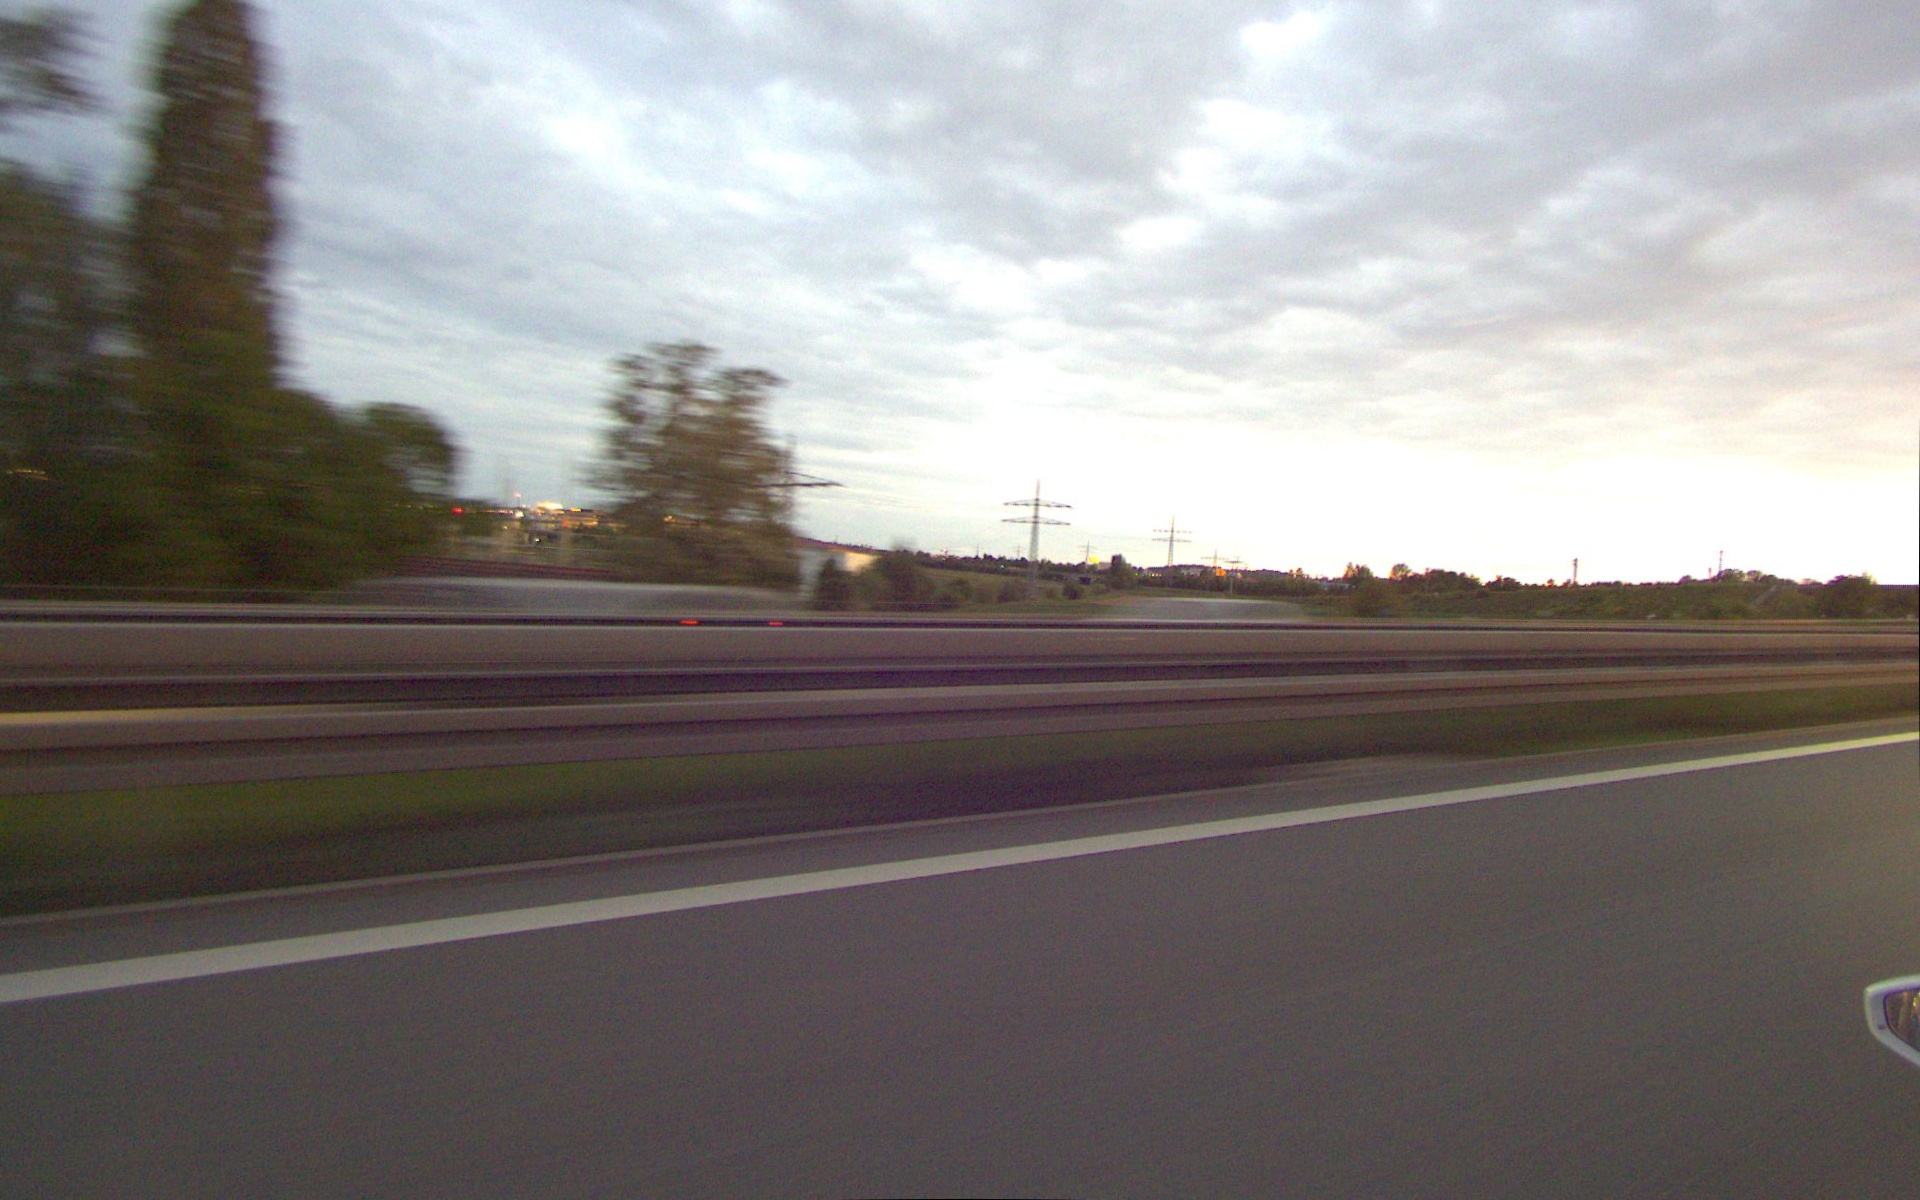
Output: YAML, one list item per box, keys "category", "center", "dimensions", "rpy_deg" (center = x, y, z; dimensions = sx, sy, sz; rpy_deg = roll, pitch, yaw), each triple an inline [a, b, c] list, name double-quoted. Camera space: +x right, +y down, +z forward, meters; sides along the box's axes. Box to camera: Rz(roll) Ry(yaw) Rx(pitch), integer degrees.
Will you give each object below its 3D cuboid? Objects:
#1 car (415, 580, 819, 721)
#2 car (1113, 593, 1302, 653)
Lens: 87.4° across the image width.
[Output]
- category: "car"
  center: [-4.076, 0.537, 12.095]
  dimensions: [4.281, 1.422, 1.983]
  rpy_deg: [1, 0, -32]
- category: "car"
  center: [5.639, 0.517, 22.775]
  dimensions: [4.134, 1.243, 1.713]
  rpy_deg: [1, 0, -31]
